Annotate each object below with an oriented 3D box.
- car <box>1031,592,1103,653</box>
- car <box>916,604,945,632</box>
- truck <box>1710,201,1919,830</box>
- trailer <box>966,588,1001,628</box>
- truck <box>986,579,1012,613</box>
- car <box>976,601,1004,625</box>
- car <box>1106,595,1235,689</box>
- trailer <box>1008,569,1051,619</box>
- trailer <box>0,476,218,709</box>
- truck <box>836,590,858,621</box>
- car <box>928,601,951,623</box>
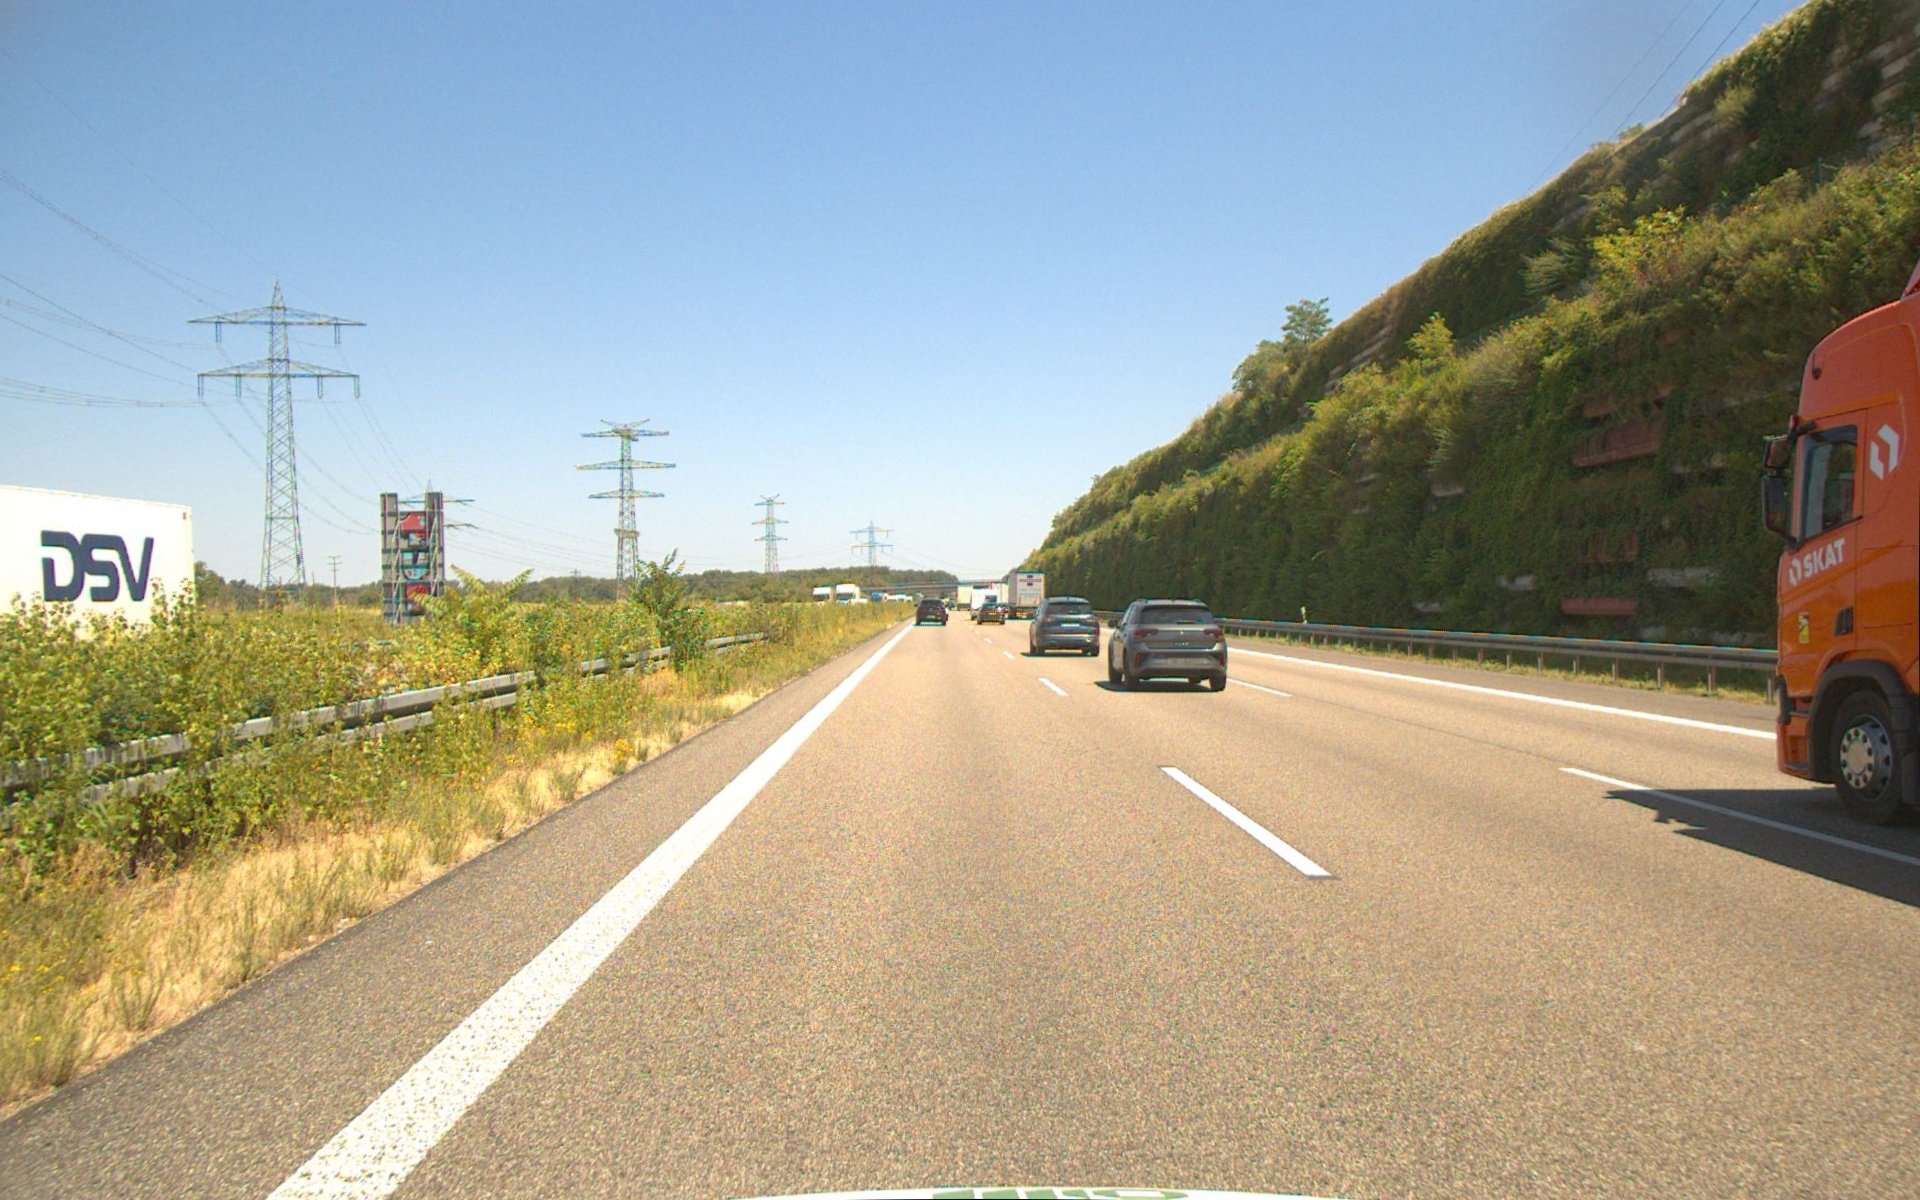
[{"bbox_3d":[3.066,0.630,48.091,1.757,1.682,4.137,0,0,-1],"label":"car"},{"bbox_3d":[-1.895,1.151,107.331,1.793,1.700,3.999,-1,0,-1],"label":"car"},{"bbox_3d":[7.484,-0.550,10.311,2.564,4.062,6.525,0,0,-1],"label":"truck"},{"bbox_3d":[1.918,0.669,139.591,2.558,3.269,9.950,-1,0,-1],"label":"trailer"},{"bbox_3d":[5.241,-0.516,222.837,3.055,4.355,11.932,-1,0,0],"label":"truck"},{"bbox_3d":[2.000,0.862,112.342,1.792,1.552,4.000,-1,0,0],"label":"car"},{"bbox_3d":[3.709,0.704,29.754,1.714,1.552,3.994,-1,0,-1],"label":"car"},{"bbox_3d":[6.217,-0.501,149.566,3.118,4.193,13.429,-1,0,-1],"label":"trailer"},{"bbox_3d":[-17.451,-0.094,28.036,2.796,3.889,15.974,-1,0,-1],"label":"trailer"},{"bbox_3d":[-15.280,0.753,224.657,2.749,4.231,5.568,0,0,-2],"label":"truck"},{"bbox_3d":[-1.631,0.948,131.974,1.793,1.700,3.999,-1,0,-1],"label":"car"}]
